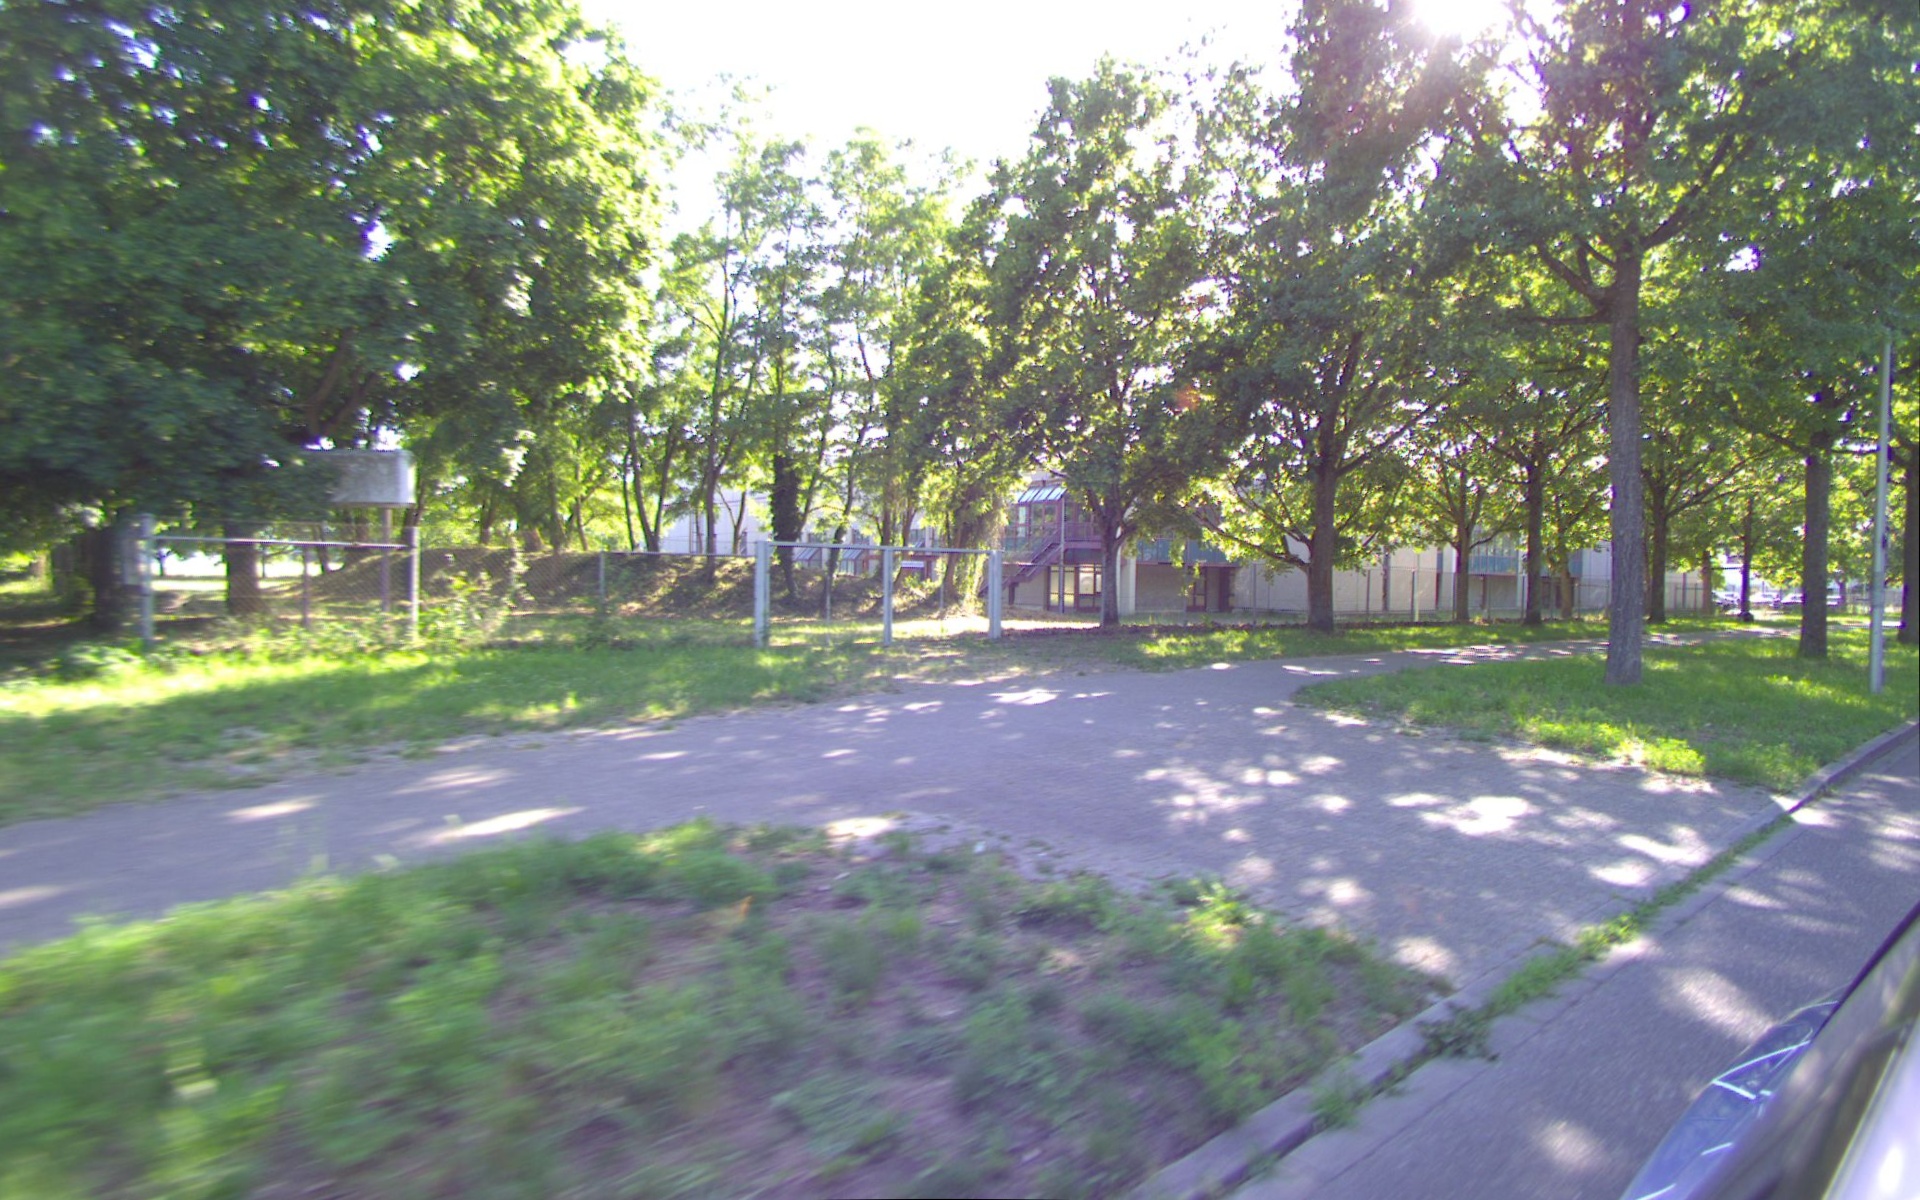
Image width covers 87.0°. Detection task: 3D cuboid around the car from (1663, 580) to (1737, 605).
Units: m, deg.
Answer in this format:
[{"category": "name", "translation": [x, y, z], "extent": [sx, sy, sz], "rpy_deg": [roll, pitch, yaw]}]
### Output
[{"category": "car", "translation": [66.833, -0.722, 91.515], "extent": [1.861, 1.983, 5.075], "rpy_deg": [0, 3, -40]}]

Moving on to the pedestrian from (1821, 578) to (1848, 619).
[{"category": "pedestrian", "translation": [35.967, -0.064, 41.630], "extent": [0.706, 1.650, 0.610], "rpy_deg": [1, 3, -37]}]
